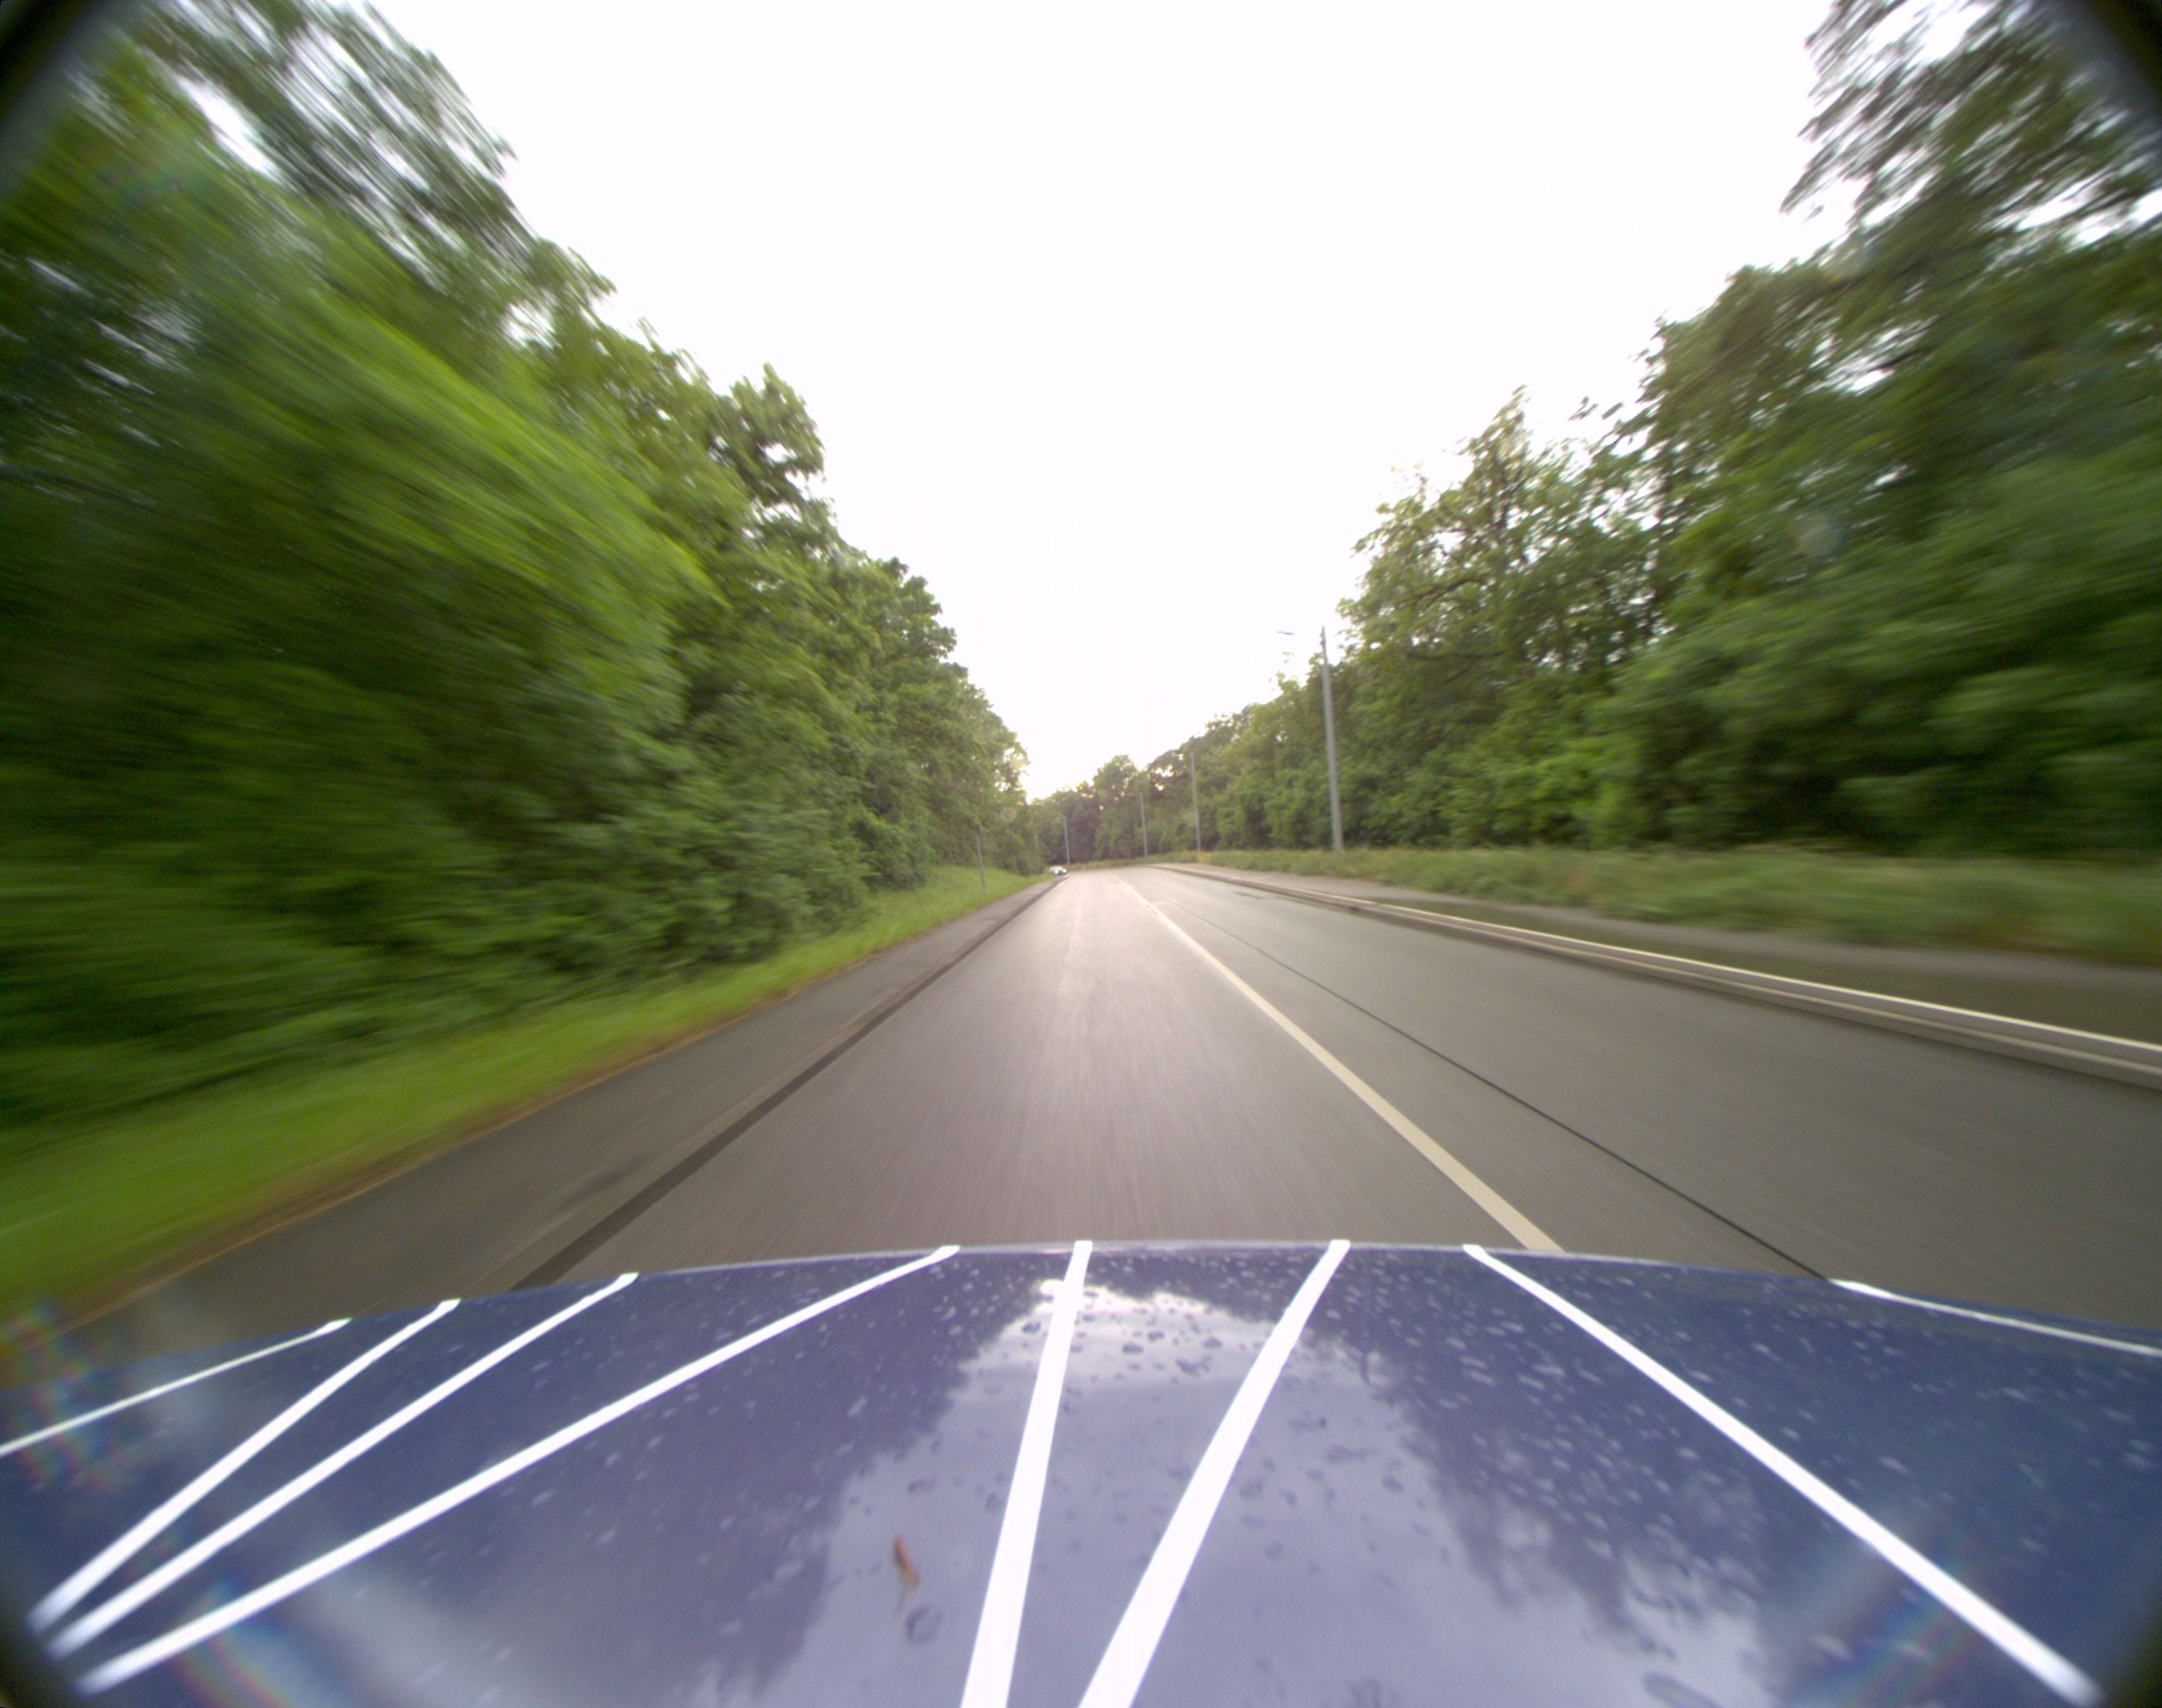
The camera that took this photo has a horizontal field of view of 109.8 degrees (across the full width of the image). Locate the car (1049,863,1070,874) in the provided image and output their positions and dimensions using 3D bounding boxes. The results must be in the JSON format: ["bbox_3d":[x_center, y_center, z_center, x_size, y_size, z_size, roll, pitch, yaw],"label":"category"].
[{"bbox_3d":[-3.071,2.071,108.967,1.784,1.477,3.993,-3,0,-20],"label":"car"}]
